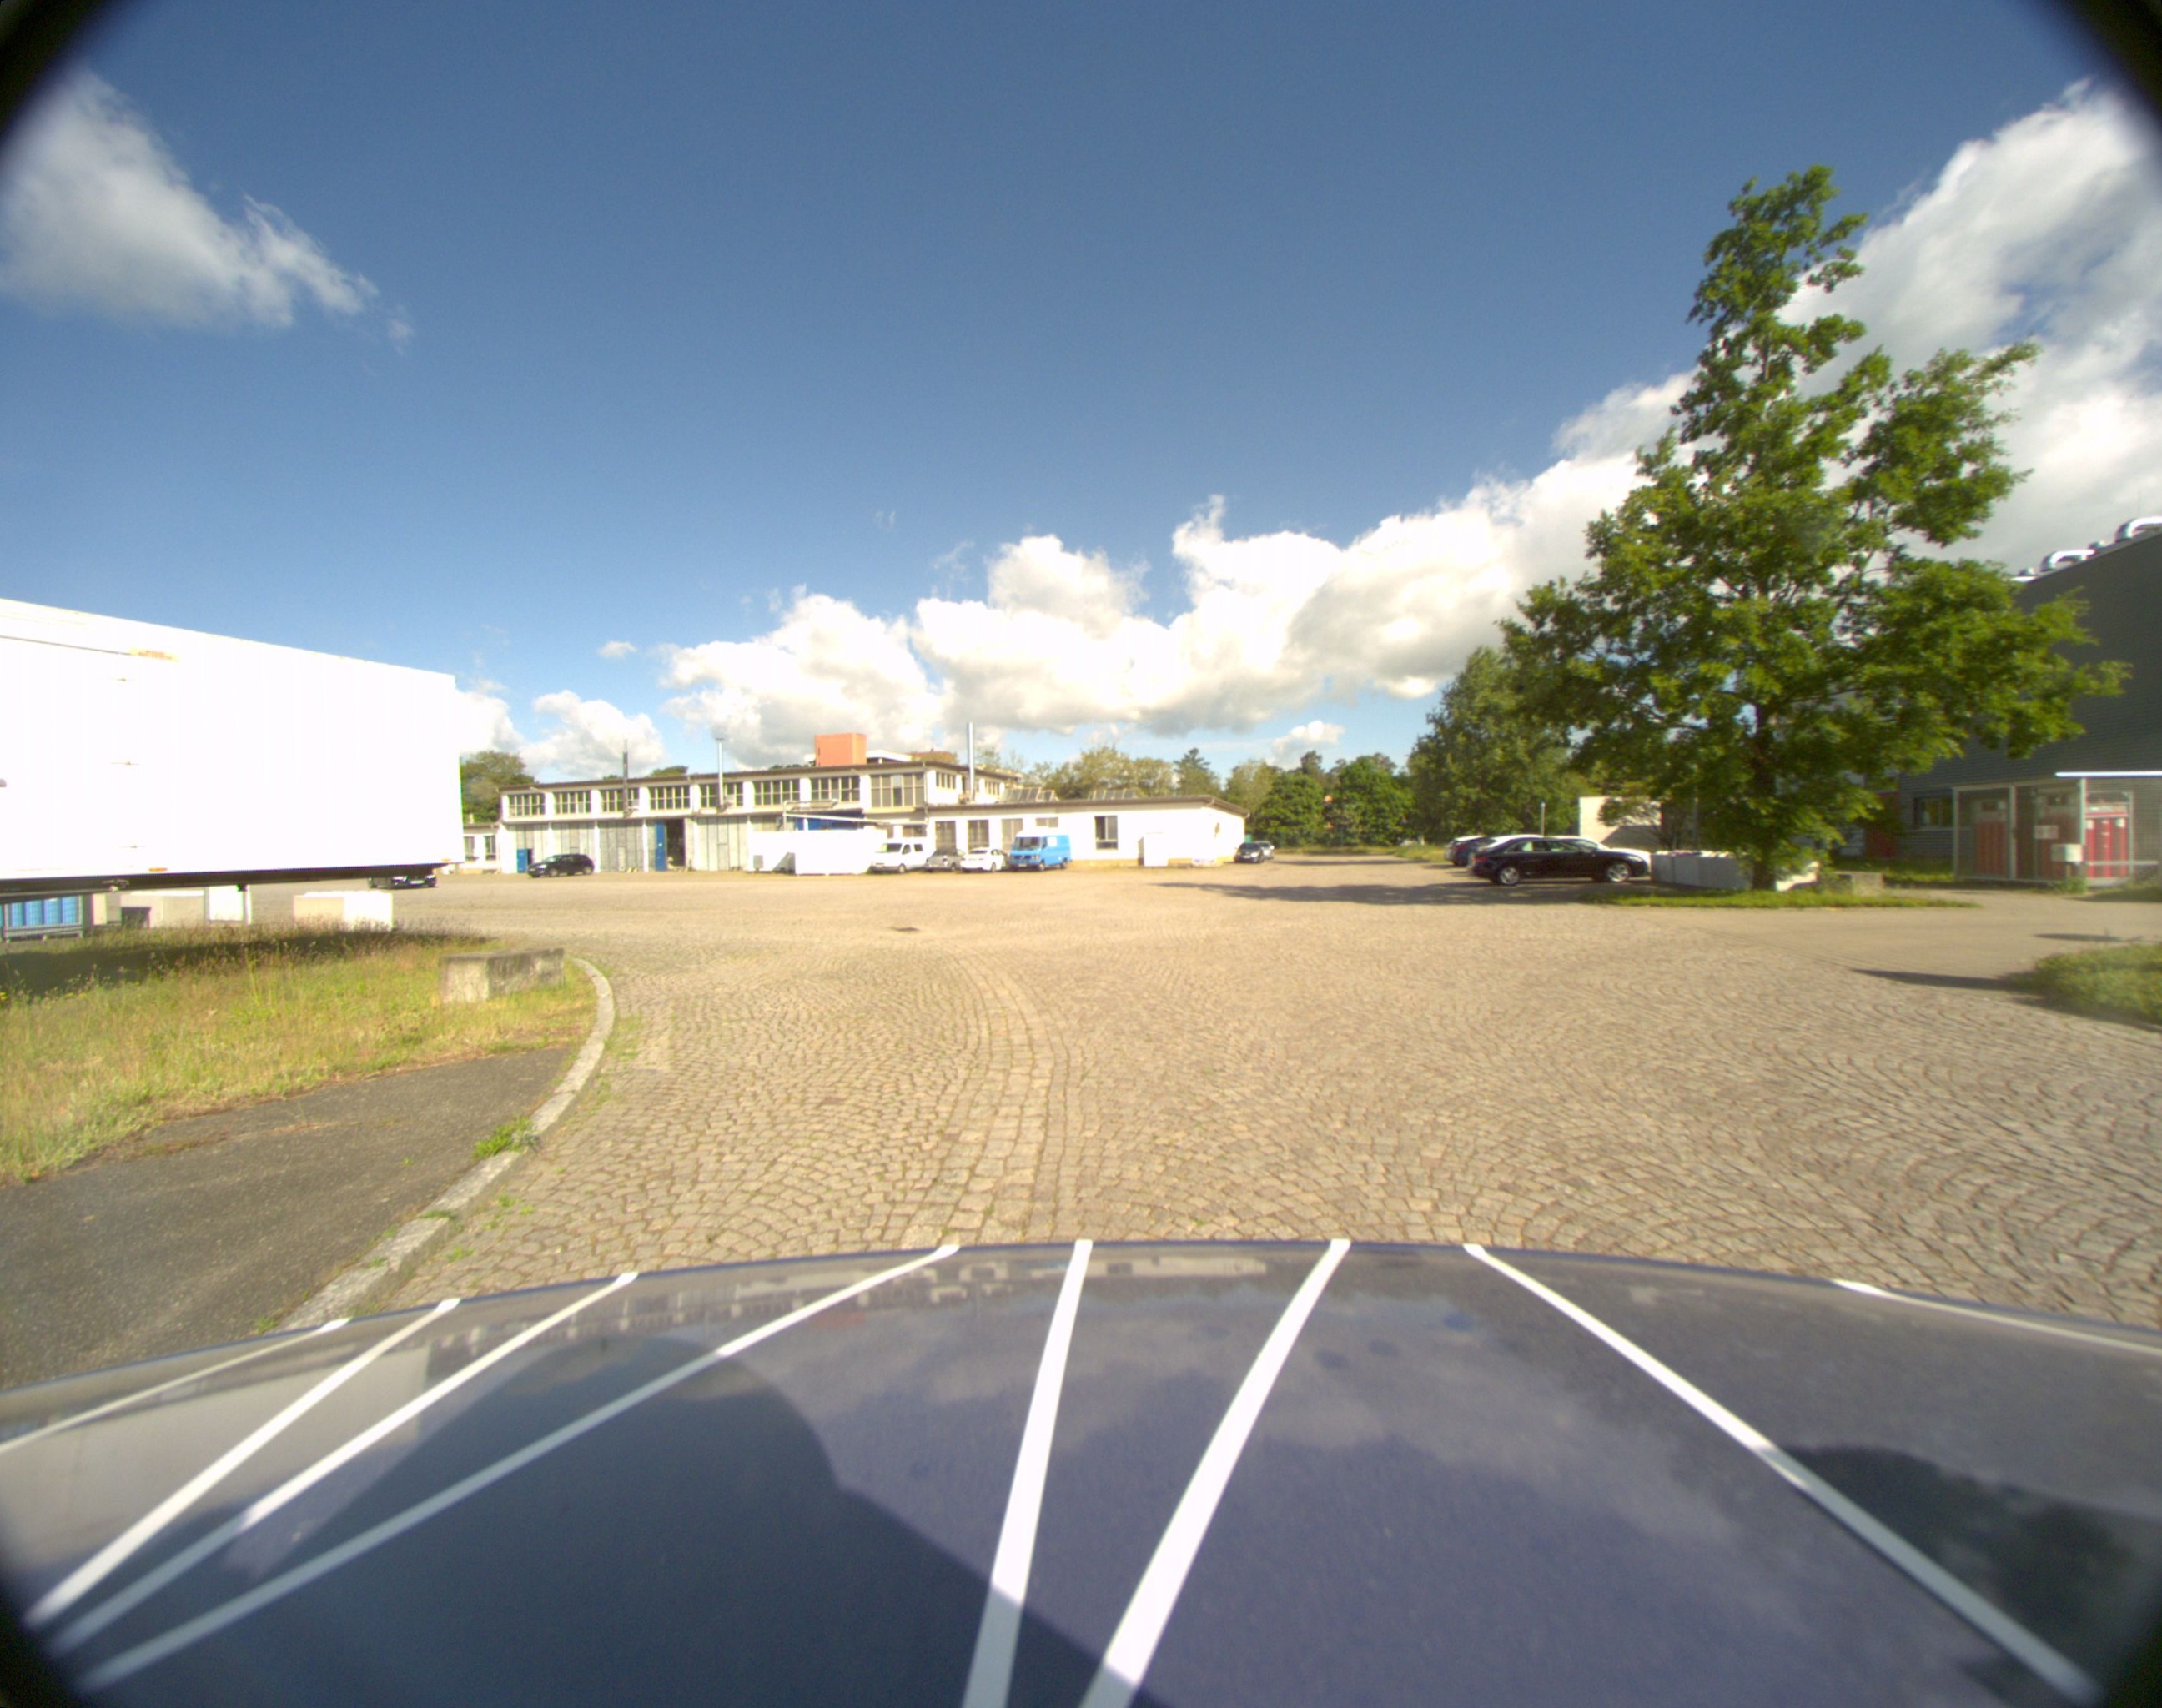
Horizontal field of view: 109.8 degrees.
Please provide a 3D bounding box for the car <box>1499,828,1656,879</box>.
[{"bbox_3d":[16.457,-0.017,25.441,4.142,1.451,1.694,-3,1,23],"label":"car"}]

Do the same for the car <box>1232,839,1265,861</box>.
[{"bbox_3d":[11.576,-0.272,52.248,1.765,1.427,3.997,-1,1,19],"label":"car"}]

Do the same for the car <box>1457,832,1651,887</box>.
[{"bbox_3d":[14.337,0.168,23.341,4.725,1.415,1.759,-3,1,17],"label":"car"}]

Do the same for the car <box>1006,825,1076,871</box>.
[{"bbox_3d":[-2.238,-0.388,44.499,2.085,2.469,5.245,-1,1,21],"label":"car"}]

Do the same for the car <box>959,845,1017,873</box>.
[{"bbox_3d":[-5.343,0.274,44.220,1.734,1.398,3.742,-2,2,20],"label":"car"}]

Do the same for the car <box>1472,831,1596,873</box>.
[{"bbox_3d":[17.959,-0.095,30.333,3.917,1.438,1.758,-3,1,19],"label":"car"}]

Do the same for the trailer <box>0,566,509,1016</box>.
[{"bbox_3d":[-11.105,-0.487,5.774,2.775,3.888,10.900,-1,1,20],"label":"trailer"}]

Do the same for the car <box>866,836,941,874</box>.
[{"bbox_3d":[-10.703,0.002,46.269,2.005,2.070,4.810,-1,2,21],"label":"car"}]

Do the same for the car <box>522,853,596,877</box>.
[{"bbox_3d":[-37.155,0.788,54.163,1.737,1.461,4.080,-2,2,16],"label":"car"}]

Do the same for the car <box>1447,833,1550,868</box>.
[{"bbox_3d":[19.324,-0.176,35.341,3.917,1.409,1.694,-3,1,19],"label":"car"}]

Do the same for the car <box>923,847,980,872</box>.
[{"bbox_3d":[-7.765,0.294,46.010,1.688,1.390,3.836,-1,1,20],"label":"car"}]

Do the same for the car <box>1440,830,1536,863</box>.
[{"bbox_3d":[20.186,-0.378,37.848,3.917,1.427,1.798,-3,1,19],"label":"car"}]

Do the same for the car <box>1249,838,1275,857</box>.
[{"bbox_3d":[14.791,-0.541,61.960,1.689,1.427,3.991,-1,1,19],"label":"car"}]
